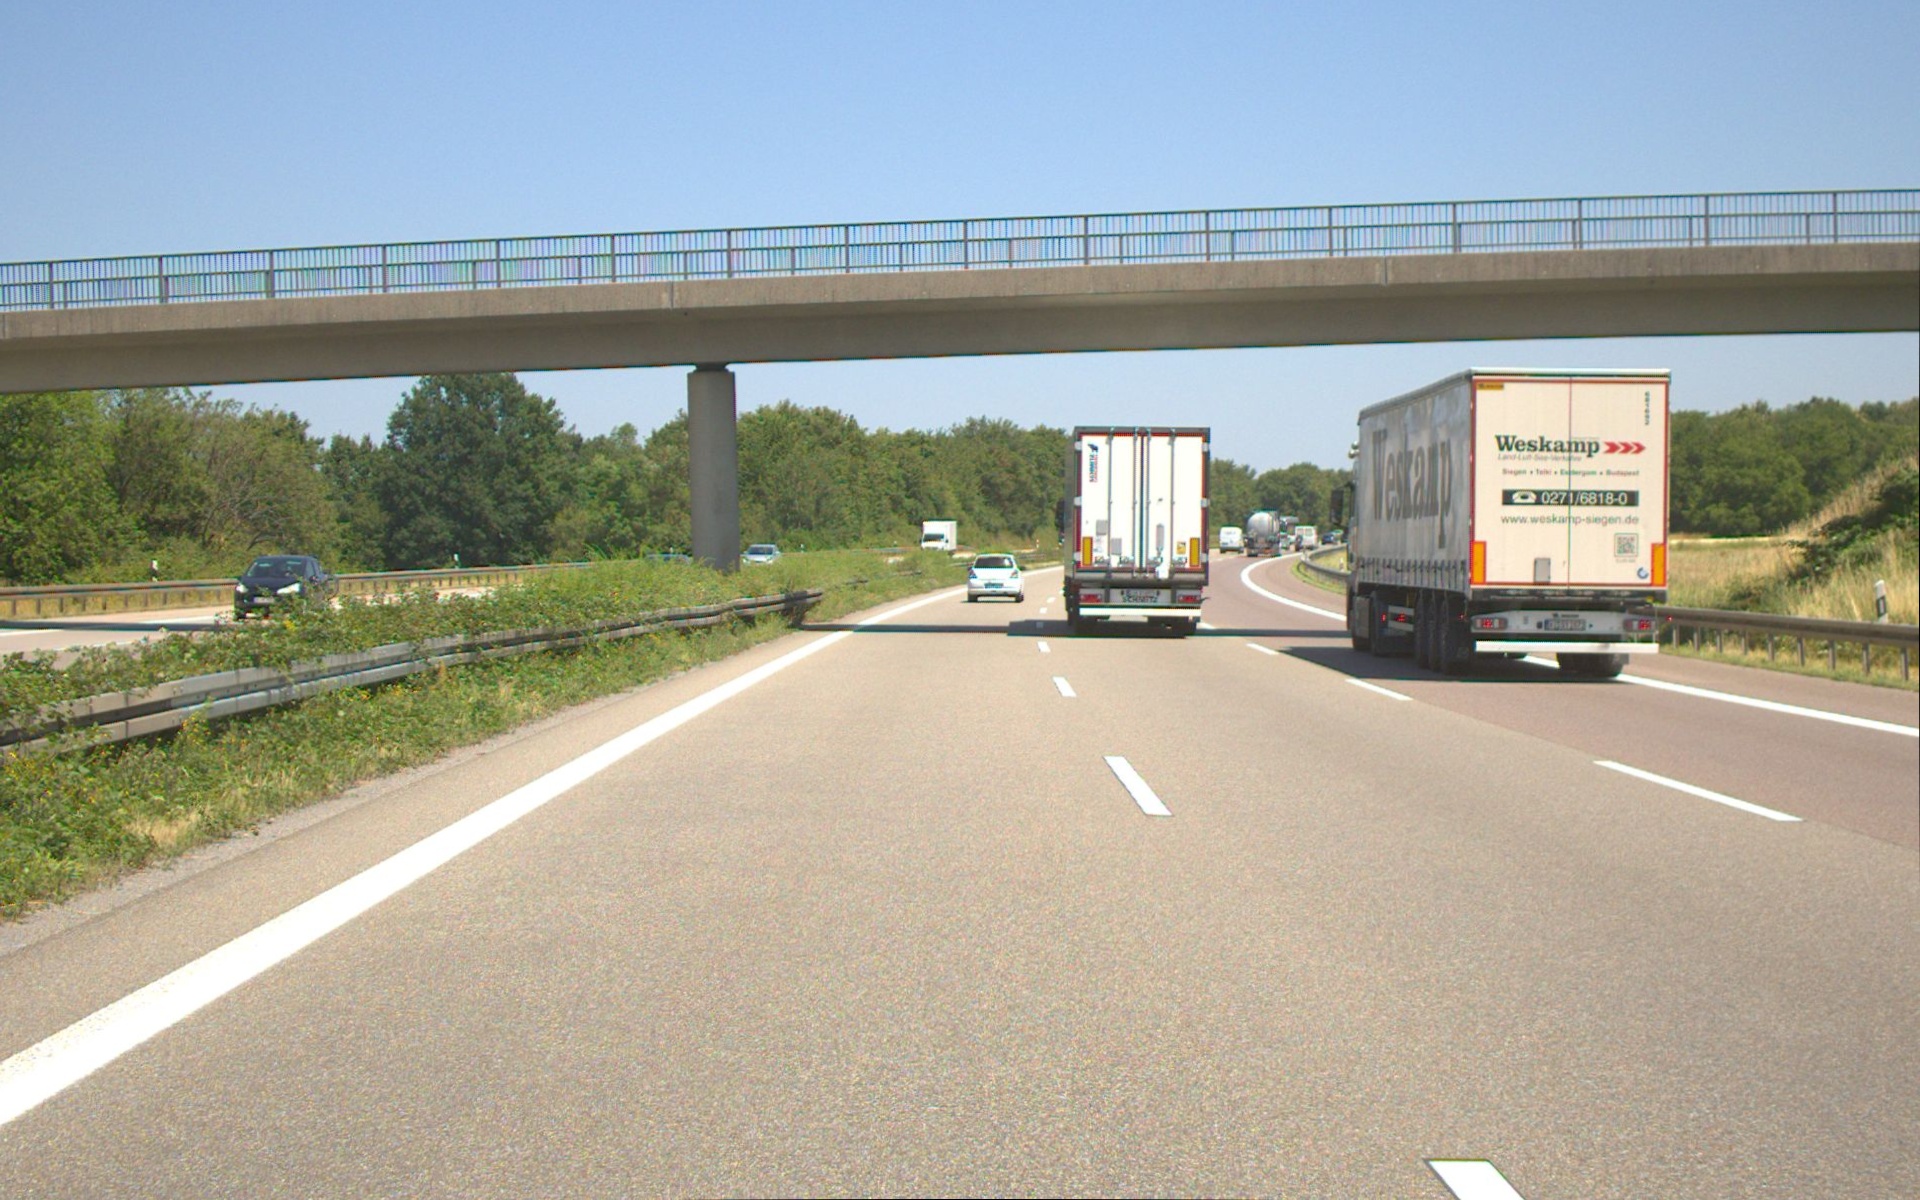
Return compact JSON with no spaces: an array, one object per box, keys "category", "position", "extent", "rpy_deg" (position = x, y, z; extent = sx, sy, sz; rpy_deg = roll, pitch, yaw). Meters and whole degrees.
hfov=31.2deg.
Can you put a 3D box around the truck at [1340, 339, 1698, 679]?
[{"category":"truck","position":[7.964,-1.328,51.551],"extent":[3.181,4.289,16.017],"rpy_deg":[0,1,2]}]

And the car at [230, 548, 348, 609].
[{"category":"car","position":[-16.593,-0.542,85.196],"extent":[1.828,1.456,4.318],"rpy_deg":[1,1,3]}]

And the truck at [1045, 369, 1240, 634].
[{"category":"truck","position":[3.691,-2.051,73.145],"extent":[3.666,5.001,16.017],"rpy_deg":[0,1,2]}]

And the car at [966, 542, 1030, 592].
[{"category":"car","position":[1.223,-1.044,108.593],"extent":[1.828,1.542,4.319],"rpy_deg":[1,1,3]}]
